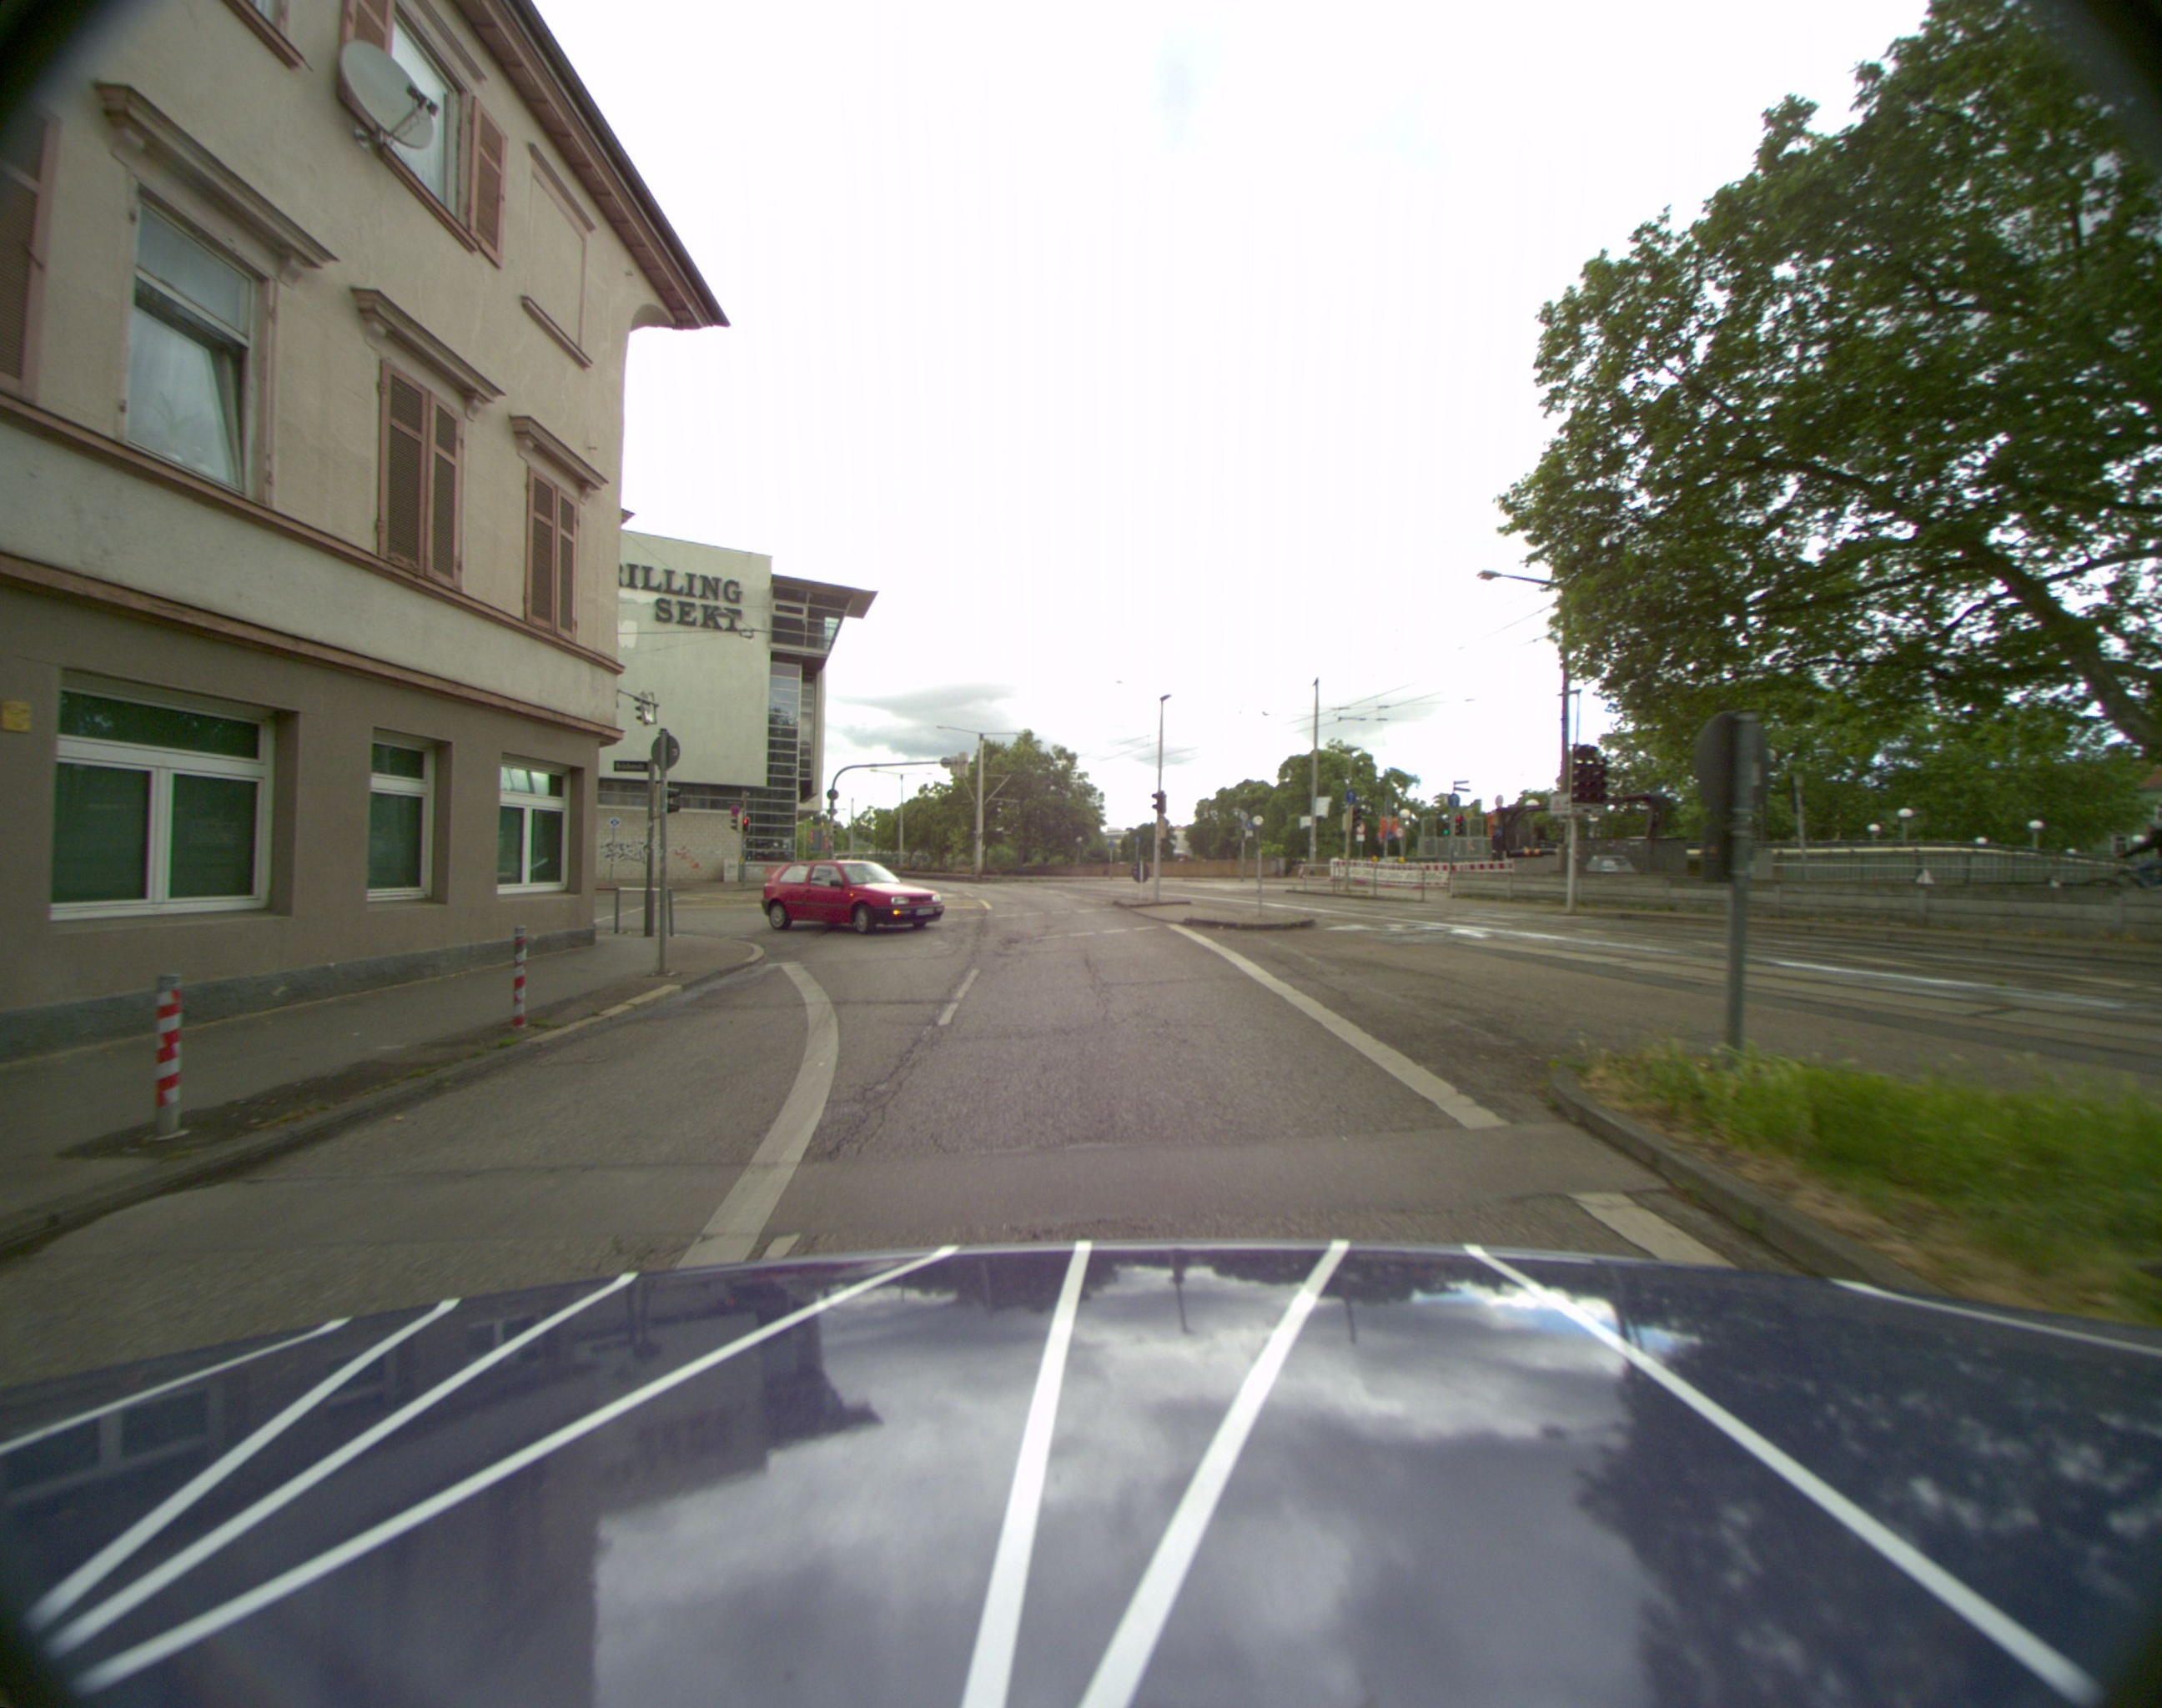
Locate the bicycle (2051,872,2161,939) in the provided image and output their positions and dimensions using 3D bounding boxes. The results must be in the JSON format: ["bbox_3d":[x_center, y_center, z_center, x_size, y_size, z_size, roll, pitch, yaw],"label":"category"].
[{"bbox_3d":[22.147,1.078,15.841,0.691,1.271,2.261,-3,2,-15],"label":"bicycle"}]

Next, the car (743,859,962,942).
[{"bbox_3d":[-4.728,0.861,15.655,4.162,1.415,1.854,0,3,28],"label":"car"}]

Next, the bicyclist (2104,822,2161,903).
[{"bbox_3d":[22.145,0.164,15.706,0.643,1.641,1.007,-3,2,-16],"label":"bicyclist"}]
